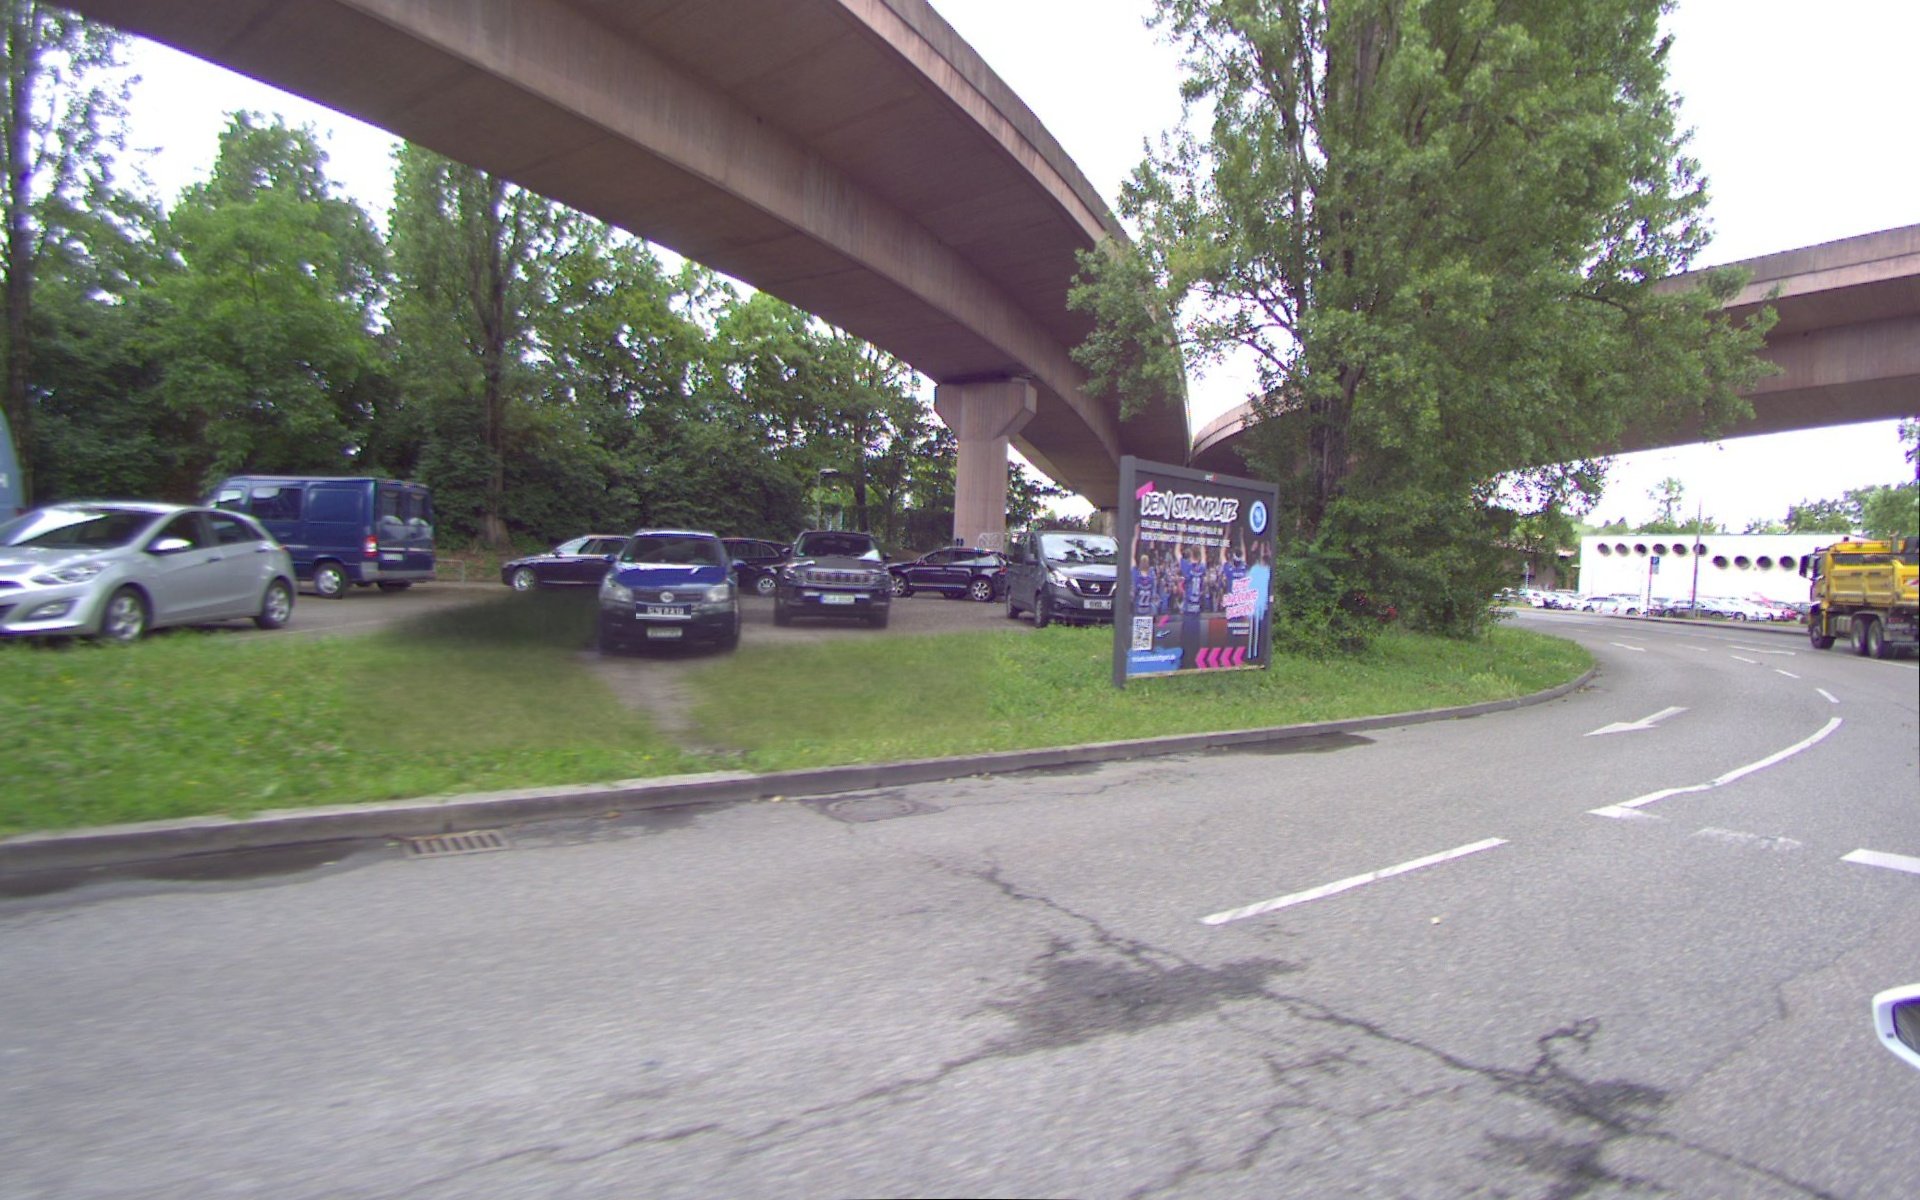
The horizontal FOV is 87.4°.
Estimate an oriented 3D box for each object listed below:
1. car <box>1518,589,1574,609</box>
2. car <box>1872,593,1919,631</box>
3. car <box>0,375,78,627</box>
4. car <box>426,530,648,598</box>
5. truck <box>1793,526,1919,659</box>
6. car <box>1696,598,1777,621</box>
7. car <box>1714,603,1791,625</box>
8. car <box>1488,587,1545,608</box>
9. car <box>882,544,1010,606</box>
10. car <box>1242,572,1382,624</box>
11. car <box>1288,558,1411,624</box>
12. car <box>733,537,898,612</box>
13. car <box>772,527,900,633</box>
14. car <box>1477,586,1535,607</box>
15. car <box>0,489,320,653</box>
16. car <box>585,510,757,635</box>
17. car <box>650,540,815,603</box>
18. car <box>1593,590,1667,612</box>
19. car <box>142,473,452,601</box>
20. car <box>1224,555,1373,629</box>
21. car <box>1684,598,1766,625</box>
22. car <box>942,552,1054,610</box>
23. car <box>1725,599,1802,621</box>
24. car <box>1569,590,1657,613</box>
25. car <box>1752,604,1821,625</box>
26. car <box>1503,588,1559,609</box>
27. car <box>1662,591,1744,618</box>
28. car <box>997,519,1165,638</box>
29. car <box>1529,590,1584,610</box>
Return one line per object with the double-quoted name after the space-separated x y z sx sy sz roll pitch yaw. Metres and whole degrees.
51.137 -0.089 87.695 1.758 1.655 3.845 2 0 -34 "car"
49.414 0.632 50.882 1.972 1.882 4.303 2 0 -24 "car"
-11.544 -1.035 8.929 2.323 2.762 6.189 2 2 -5 "car"
-10.114 -0.846 24.146 4.551 1.454 2.001 2 0 12 "car"
27.968 -0.229 30.070 2.882 3.528 8.234 0 0 27 "truck"
53.139 0.649 68.825 1.979 1.461 3.962 2 0 -34 "car"
56.649 1.013 71.854 1.979 1.425 3.962 2 0 -34 "car"
47.100 -0.226 85.115 1.758 1.655 3.845 2 0 -34 "car"
-0.430 -0.853 33.278 4.000 1.735 1.659 4 4 6 "car"
10.895 -0.059 31.516 2.084 1.462 4.783 1 0 -10 "car"
13.187 -0.342 34.320 1.963 2.041 4.443 1 1 -8 "car"
-4.094 -0.674 28.723 4.214 1.824 1.848 -3 -1 12 "car"
-2.146 -0.312 17.226 1.862 1.532 4.444 2 0 -8 "car"
45.391 -0.290 83.611 1.758 1.655 3.845 2 0 -34 "car"
-9.130 -0.289 10.946 1.963 1.434 4.287 2 0 -7 "car"
-4.191 -0.355 14.933 2.042 1.508 4.839 2 0 -14 "car"
-5.935 -0.734 26.418 3.808 1.494 1.795 2 1 11 "car"
47.808 0.057 71.699 1.979 1.461 3.962 2 0 -34 "car"
-13.042 -1.202 19.914 4.916 2.285 2.125 2 0 9 "car"
9.129 -0.200 27.512 1.980 1.815 4.392 1 0 -10 "car"
51.134 0.737 67.216 1.980 1.662 3.960 2 0 -35 "car"
1.366 -0.706 35.438 3.613 1.691 1.682 5 4 13 "car"
58.568 0.739 73.288 1.979 1.461 3.962 2 0 -34 "car"
45.780 0.082 70.482 1.979 1.461 4.790 2 0 -34 "car"
62.520 1.105 76.031 1.618 1.461 3.677 2 0 -34 "car"
49.050 -0.156 86.359 1.758 1.655 3.845 2 0 -34 "car"
48.559 0.289 65.732 1.673 1.662 3.961 2 0 -35 "car"
2.354 -0.434 21.228 2.218 2.099 5.099 3 1 -8 "car"
52.963 -0.012 89.256 1.758 1.655 3.845 2 0 -34 "car"
